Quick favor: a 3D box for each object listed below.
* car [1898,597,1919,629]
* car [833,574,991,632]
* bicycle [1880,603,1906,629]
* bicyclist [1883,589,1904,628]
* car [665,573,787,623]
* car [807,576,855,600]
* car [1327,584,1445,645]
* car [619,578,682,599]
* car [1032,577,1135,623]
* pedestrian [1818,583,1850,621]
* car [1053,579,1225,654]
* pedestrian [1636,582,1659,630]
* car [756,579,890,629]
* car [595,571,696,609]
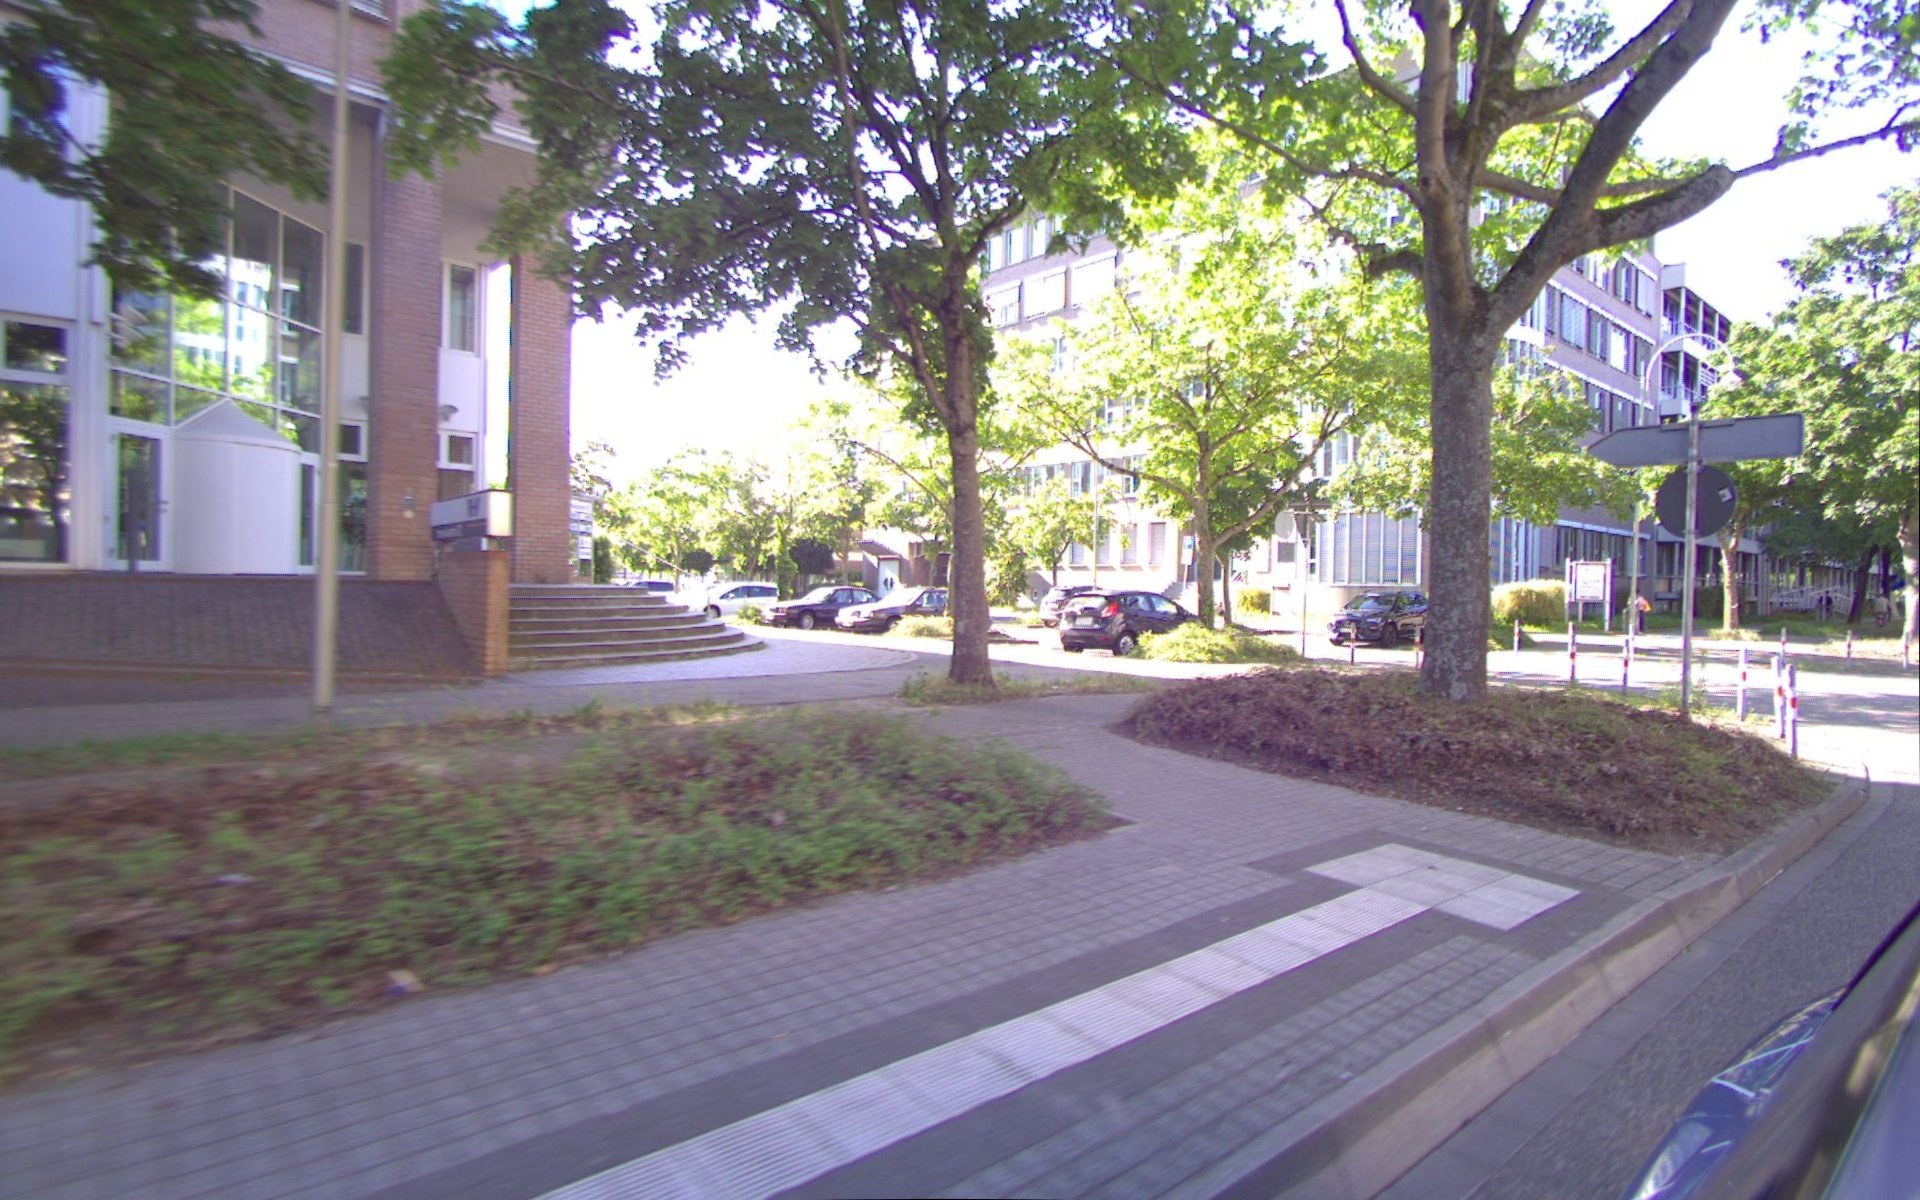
[{"bbox_3d":[44.035,0.665,44.391,1.627,1.387,4.121,0,3,-43],"label":"car"},{"bbox_3d":[-1.301,0.071,28.258,4.193,1.479,1.694,0,1,-38],"label":"car"},{"bbox_3d":[39.963,0.690,43.341,1.885,1.092,0.535,1,1,-40],"label":"bicycle"},{"bbox_3d":[40.071,0.363,43.430,0.808,1.657,0.538,1,1,-40],"label":"bicyclist"},{"bbox_3d":[-8.374,-0.057,36.401,3.929,1.584,1.625,3,-1,-41],"label":"car"},{"bbox_3d":[-8.553,-0.822,66.906,1.507,1.462,3.909,-1,2,-36],"label":"car"},{"bbox_3d":[12.863,0.374,30.425,4.295,1.585,1.739,-2,2,-44],"label":"car"},{"bbox_3d":[-21.318,-0.784,69.798,3.845,1.331,1.533,0,1,-44],"label":"car"},{"bbox_3d":[4.948,-0.038,40.270,3.925,1.604,1.705,-3,3,-35],"label":"car"},{"bbox_3d":[42.466,0.080,49.173,1.001,1.821,1.036,0,-1,-41],"label":"pedestrian"},{"bbox_3d":[3.946,0.354,22.029,3.849,1.481,1.655,1,0,-42],"label":"car"},{"bbox_3d":[23.327,0.200,34.335,0.537,1.602,0.639,1,0,40],"label":"pedestrian"},{"bbox_3d":[-4.231,0.152,31.606,3.933,1.386,1.623,4,-3,-44],"label":"car"},{"bbox_3d":[-13.473,-0.411,43.515,3.841,1.521,1.534,1,1,-41],"label":"car"}]
